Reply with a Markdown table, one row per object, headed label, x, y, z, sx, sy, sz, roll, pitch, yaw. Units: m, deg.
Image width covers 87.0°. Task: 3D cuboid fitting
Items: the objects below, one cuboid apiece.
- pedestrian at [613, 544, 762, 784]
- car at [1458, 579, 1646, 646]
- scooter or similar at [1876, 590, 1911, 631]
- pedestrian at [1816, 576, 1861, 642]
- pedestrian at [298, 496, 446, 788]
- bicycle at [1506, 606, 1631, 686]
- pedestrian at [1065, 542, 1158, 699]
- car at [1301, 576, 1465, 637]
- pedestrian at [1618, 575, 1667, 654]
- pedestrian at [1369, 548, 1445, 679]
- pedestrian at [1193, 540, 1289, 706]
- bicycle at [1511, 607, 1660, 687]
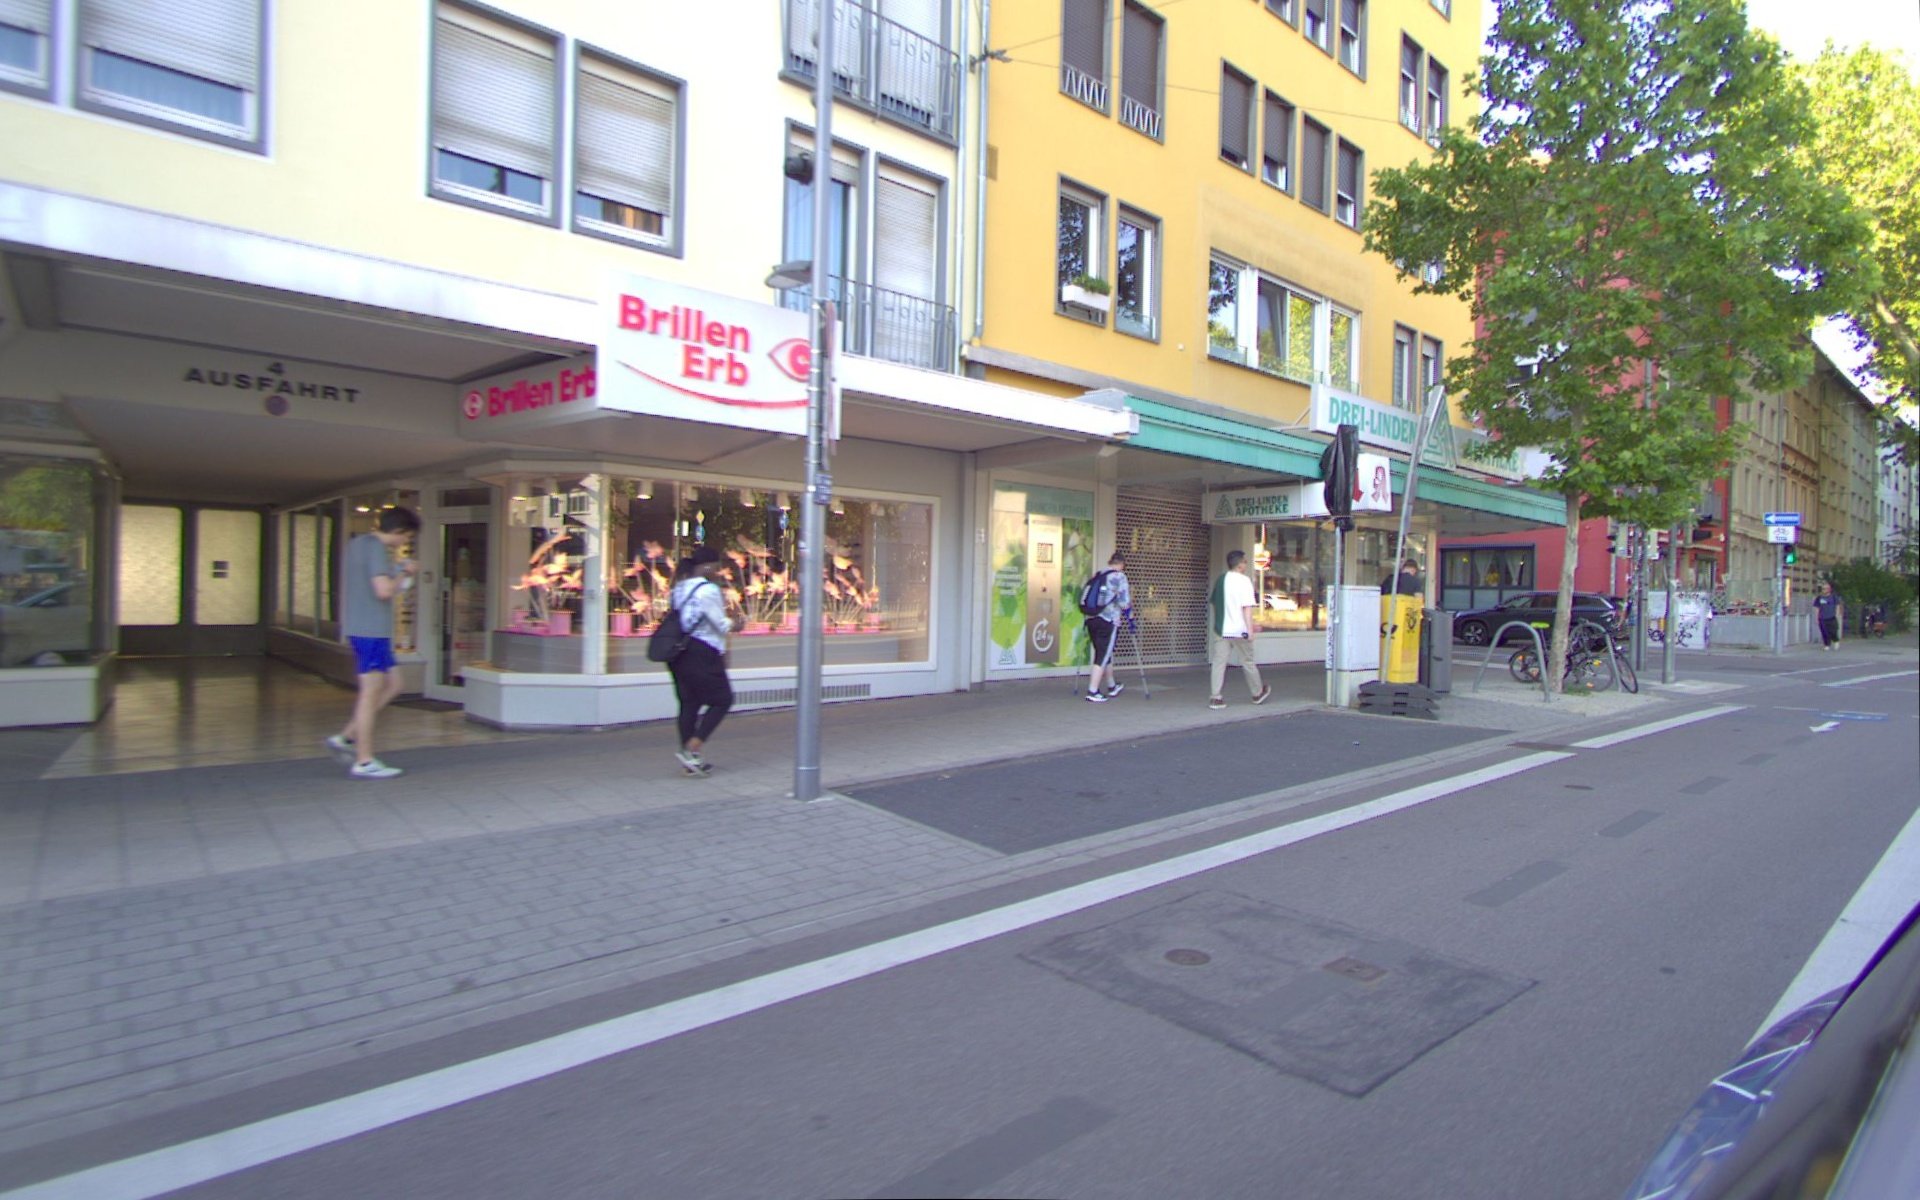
| label | x | y | z | sx | sy | sz | roll | pitch | yaw |
| --- | --- | --- | --- | --- | --- | --- | --- | --- | --- |
| pedestrian | -1.951 | 0.415 | 7.252 | 0.836 | 1.598 | 0.611 | 0 | 1 | -41 |
| car | 16.933 | 0.305 | 29.117 | 1.741 | 1.707 | 4.349 | 1 | 1 | -41 |
| scooter or similar | 35.408 | 0.382 | 38.380 | 2.500 | 1.488 | 0.666 | 0 | 1 | -41 |
| pedestrian | 23.981 | 0.236 | 27.628 | 0.802 | 1.731 | 0.728 | 0 | 4 | -41 |
| pedestrian | -4.051 | 0.254 | 6.969 | 0.753 | 1.863 | 0.725 | 0 | 1 | -41 |
| bicycle | 8.989 | 0.652 | 14.995 | 0.446 | 1.020 | 1.485 | 0 | 3 | -43 |
| pedestrian | 1.755 | 0.212 | 11.708 | 0.753 | 1.745 | 0.725 | 0 | 1 | -41 |
| car | 13.644 | 0.156 | 32.852 | 1.741 | 1.762 | 4.610 | 1 | 1 | -41 |
| pedestrian | 16.259 | 0.325 | 24.115 | 0.879 | 1.801 | 0.745 | -4 | 4 | -41 |
| pedestrian | 6.490 | 0.178 | 14.698 | 0.753 | 1.829 | 0.725 | 0 | 1 | -41 |
| pedestrian | 3.185 | 0.237 | 11.478 | 0.753 | 1.801 | 0.725 | 0 | 1 | -41 |
| bicycle | 9.439 | 0.681 | 15.324 | 0.532 | 1.020 | 1.800 | 0 | 4 | -43 |
